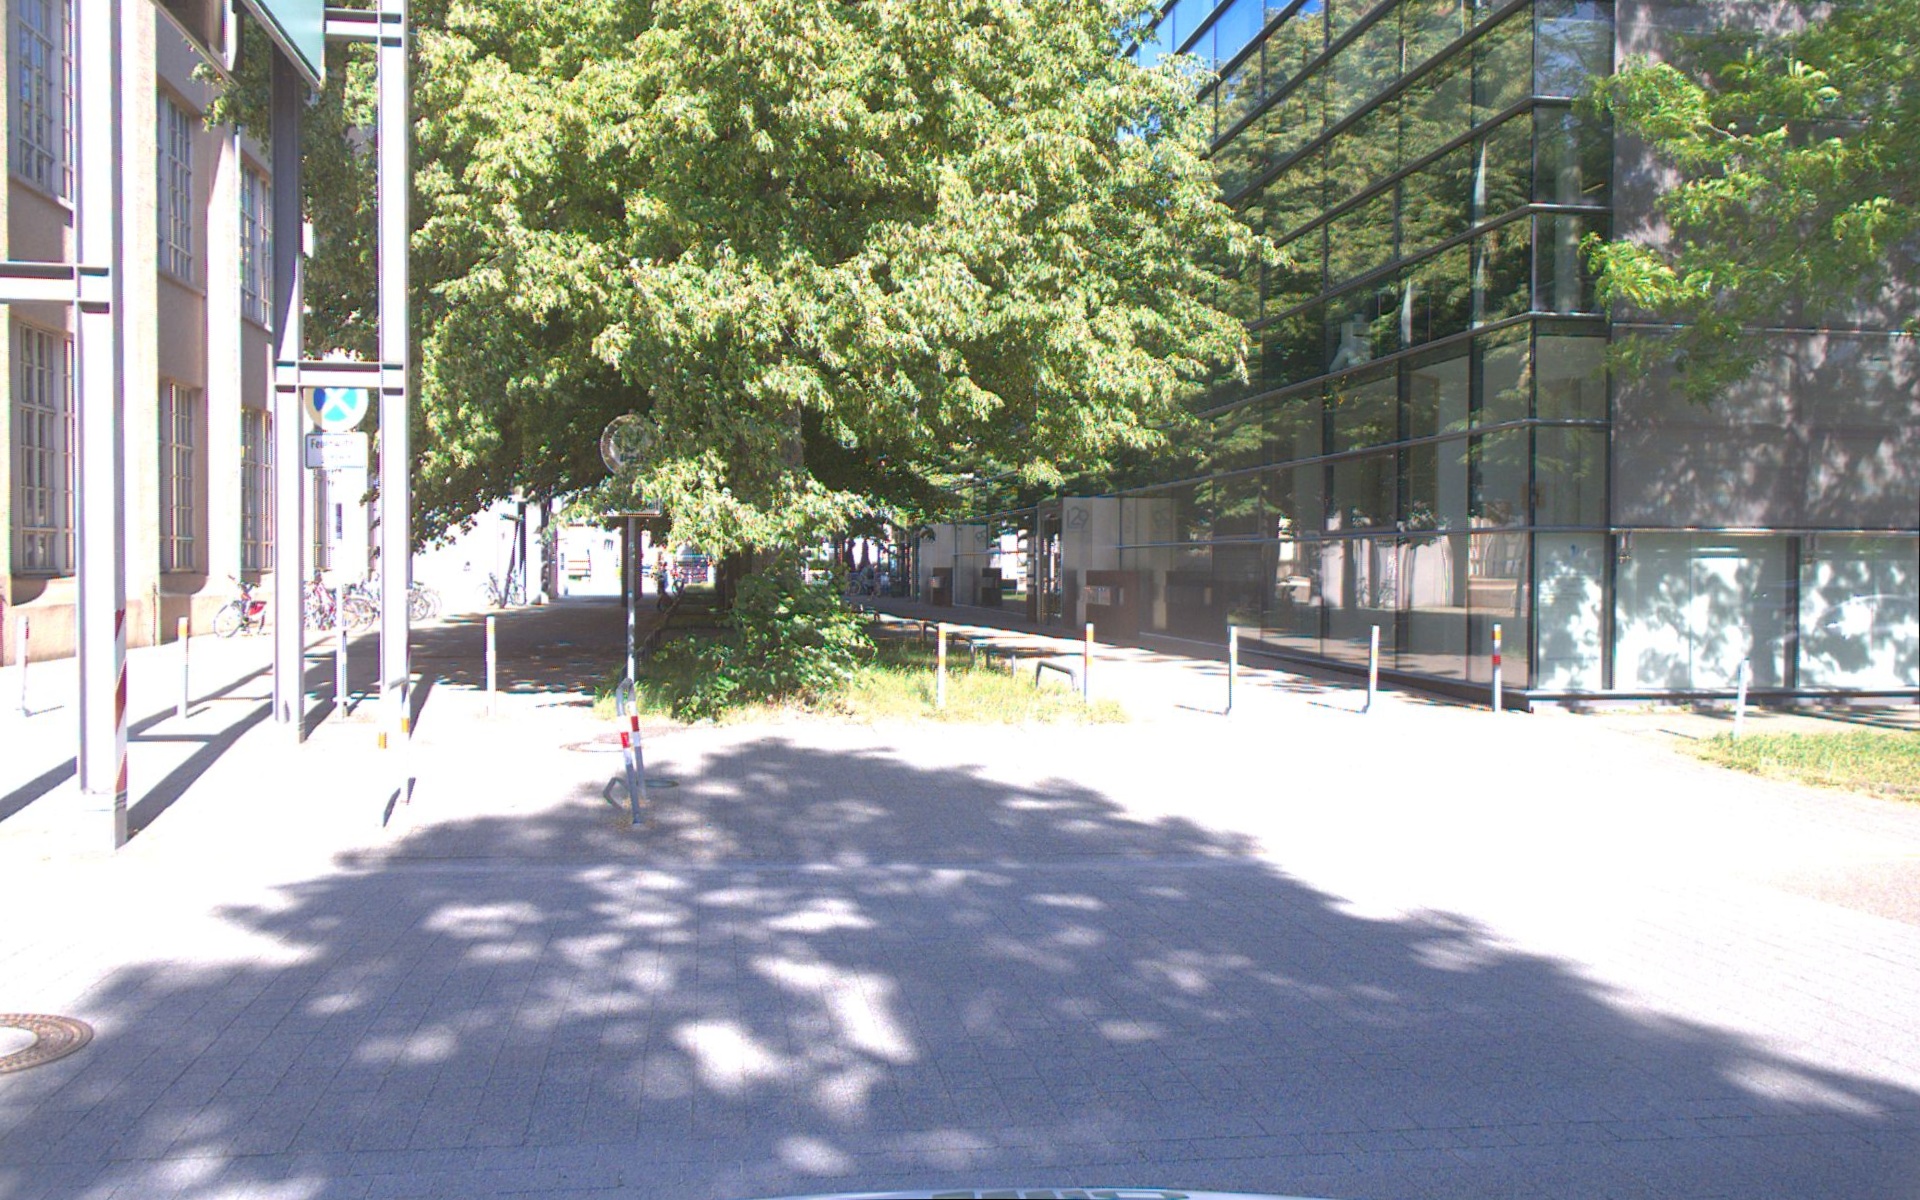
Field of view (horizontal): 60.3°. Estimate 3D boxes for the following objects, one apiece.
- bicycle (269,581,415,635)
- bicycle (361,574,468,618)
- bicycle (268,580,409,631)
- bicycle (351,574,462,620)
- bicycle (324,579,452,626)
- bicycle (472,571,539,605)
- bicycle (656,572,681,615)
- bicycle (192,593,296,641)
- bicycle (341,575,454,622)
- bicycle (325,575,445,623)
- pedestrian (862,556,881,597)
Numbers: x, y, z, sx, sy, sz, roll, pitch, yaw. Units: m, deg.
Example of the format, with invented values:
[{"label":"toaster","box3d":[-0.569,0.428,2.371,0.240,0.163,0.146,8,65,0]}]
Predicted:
[{"label":"bicycle","box3d":[-12.785,0.156,34.315,2.752,1.081,0.716,0,1,-14]},{"label":"bicycle","box3d":[-14.822,-0.099,45.016,2.684,1.170,0.716,0,1,-14]},{"label":"bicycle","box3d":[-13.425,0.112,35.800,2.749,1.081,0.717,0,1,-9]},{"label":"bicycle","box3d":[-14.440,-0.075,43.204,2.684,1.170,0.716,0,1,-14]},{"label":"bicycle","box3d":[-13.373,0.049,38.754,2.752,1.081,0.716,0,1,-14]},{"label":"bicycle","box3d":[-14.791,-0.397,53.847,2.018,1.085,0.506,0,1,-7]},{"label":"bicycle","box3d":[-8.639,-0.218,49.017,0.608,1.218,2.124,0,1,-14]},{"label":"bicycle","box3d":[-13.540,0.305,31.383,0.762,0.806,2.884,0,2,-1]},{"label":"bicycle","box3d":[-14.405,-0.042,42.411,2.684,1.170,0.716,0,1,-14]},{"label":"bicycle","box3d":[-14.213,-0.027,40.959,2.752,1.170,0.716,0,1,-14]},{"label":"pedestrian","box3d":[-3.402,-0.907,63.701,0.702,1.577,0.690,0,1,-3]}]
